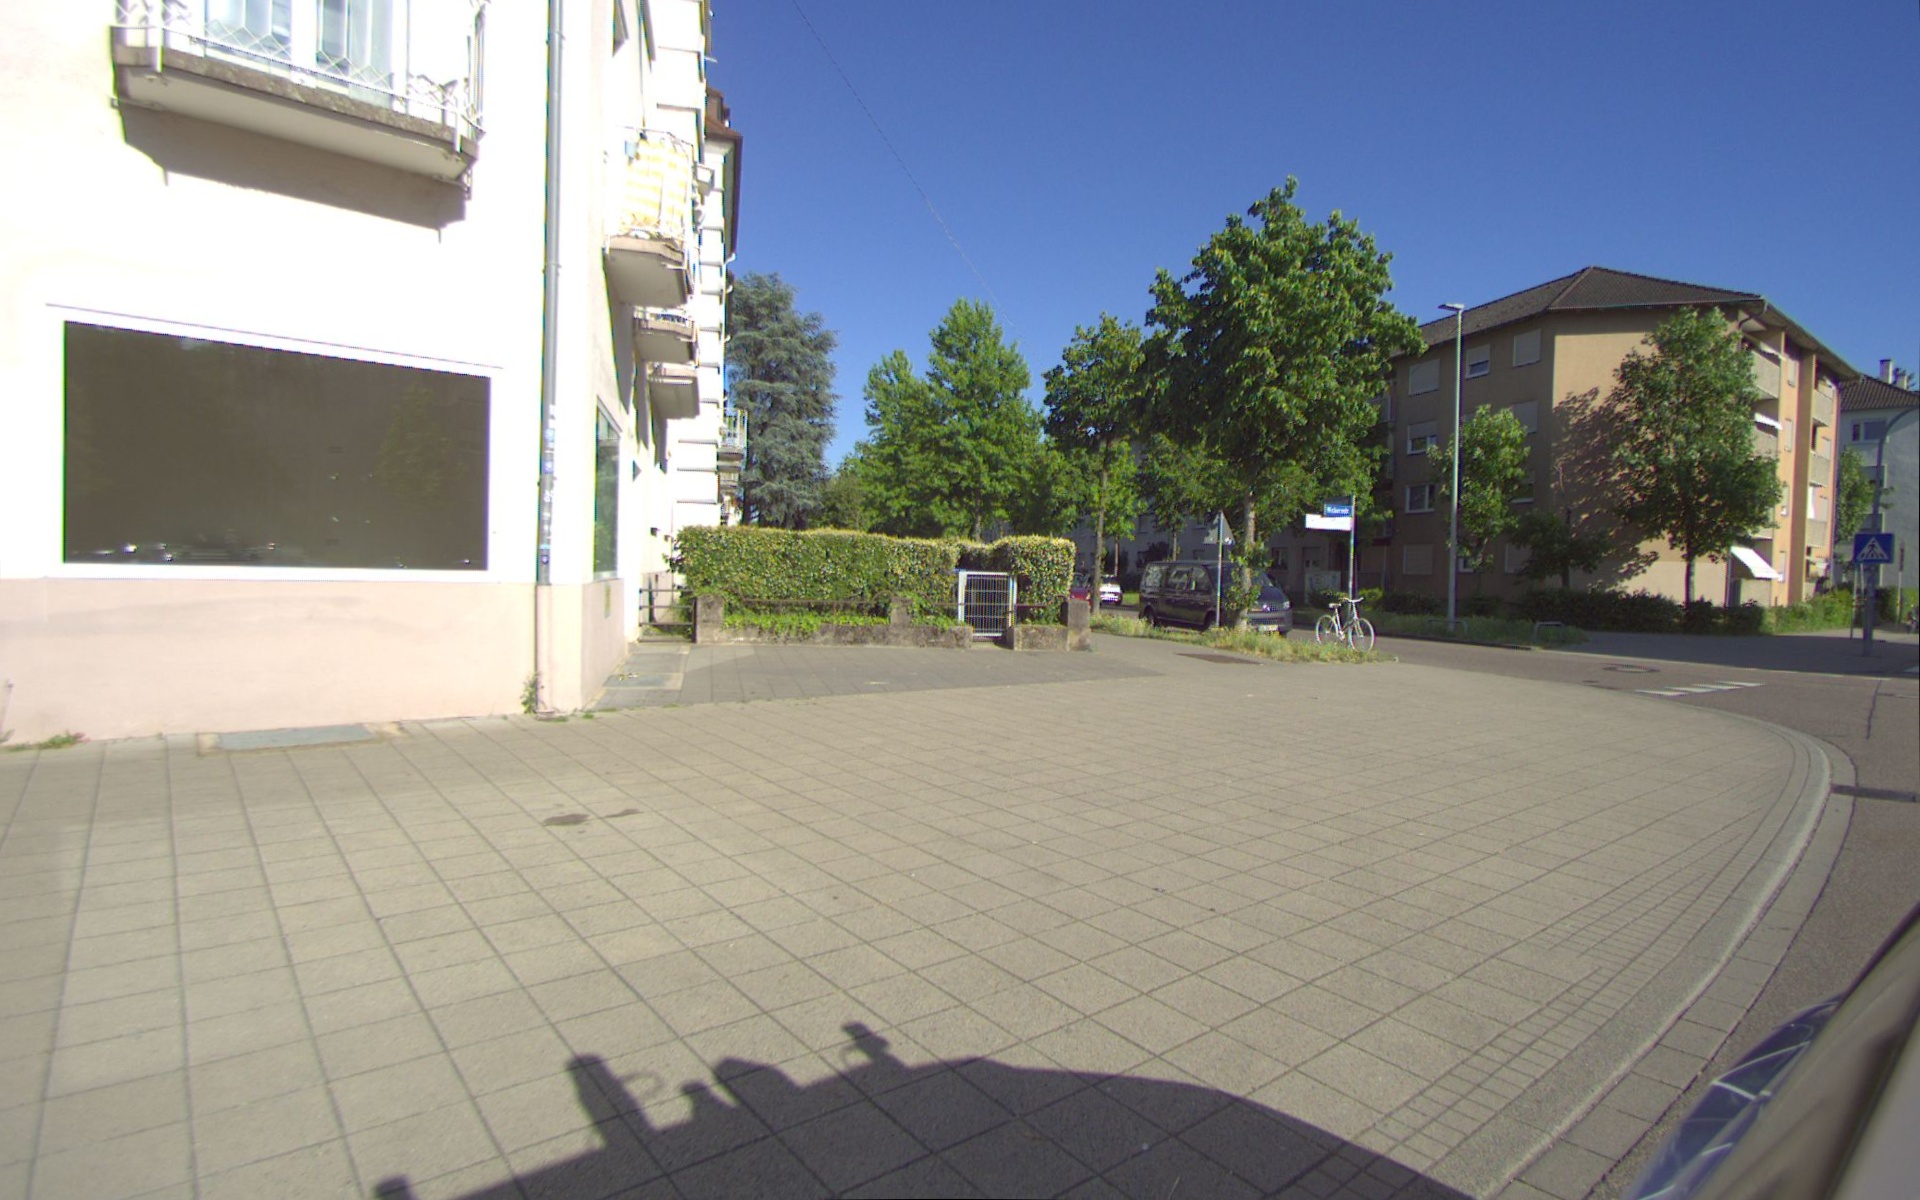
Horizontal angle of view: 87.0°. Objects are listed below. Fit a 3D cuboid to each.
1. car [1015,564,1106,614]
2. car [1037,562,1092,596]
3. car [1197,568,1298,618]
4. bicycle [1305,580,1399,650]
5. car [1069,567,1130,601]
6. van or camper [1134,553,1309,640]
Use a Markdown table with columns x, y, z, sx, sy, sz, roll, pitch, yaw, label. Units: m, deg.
| x | y | z | sx | sy | sz | roll | pitch | yaw | label |
| --- | --- | --- | --- | --- | --- | --- | --- | --- | --- |
| 3.581 | -0.464 | 37.144 | 1.865 | 1.633 | 4.985 | 0 | 3 | -12 | car |
| 5.838 | -1.195 | 56.920 | 1.673 | 1.700 | 4.234 | 2 | 2 | -14 | car |
| 10.563 | -0.301 | 37.459 | 1.689 | 1.581 | 4.118 | 2 | 2 | -14 | car |
| 7.529 | 0.262 | 19.547 | 0.518 | 1.208 | 2.035 | 0 | 3 | -17 | bicycle |
| 7.099 | -0.844 | 51.800 | 1.686 | 1.544 | 4.010 | -1 | 3 | -15 | car |
| 6.385 | -0.212 | 25.522 | 1.954 | 1.885 | 5.400 | -1 | 3 | -13 | van or camper |
